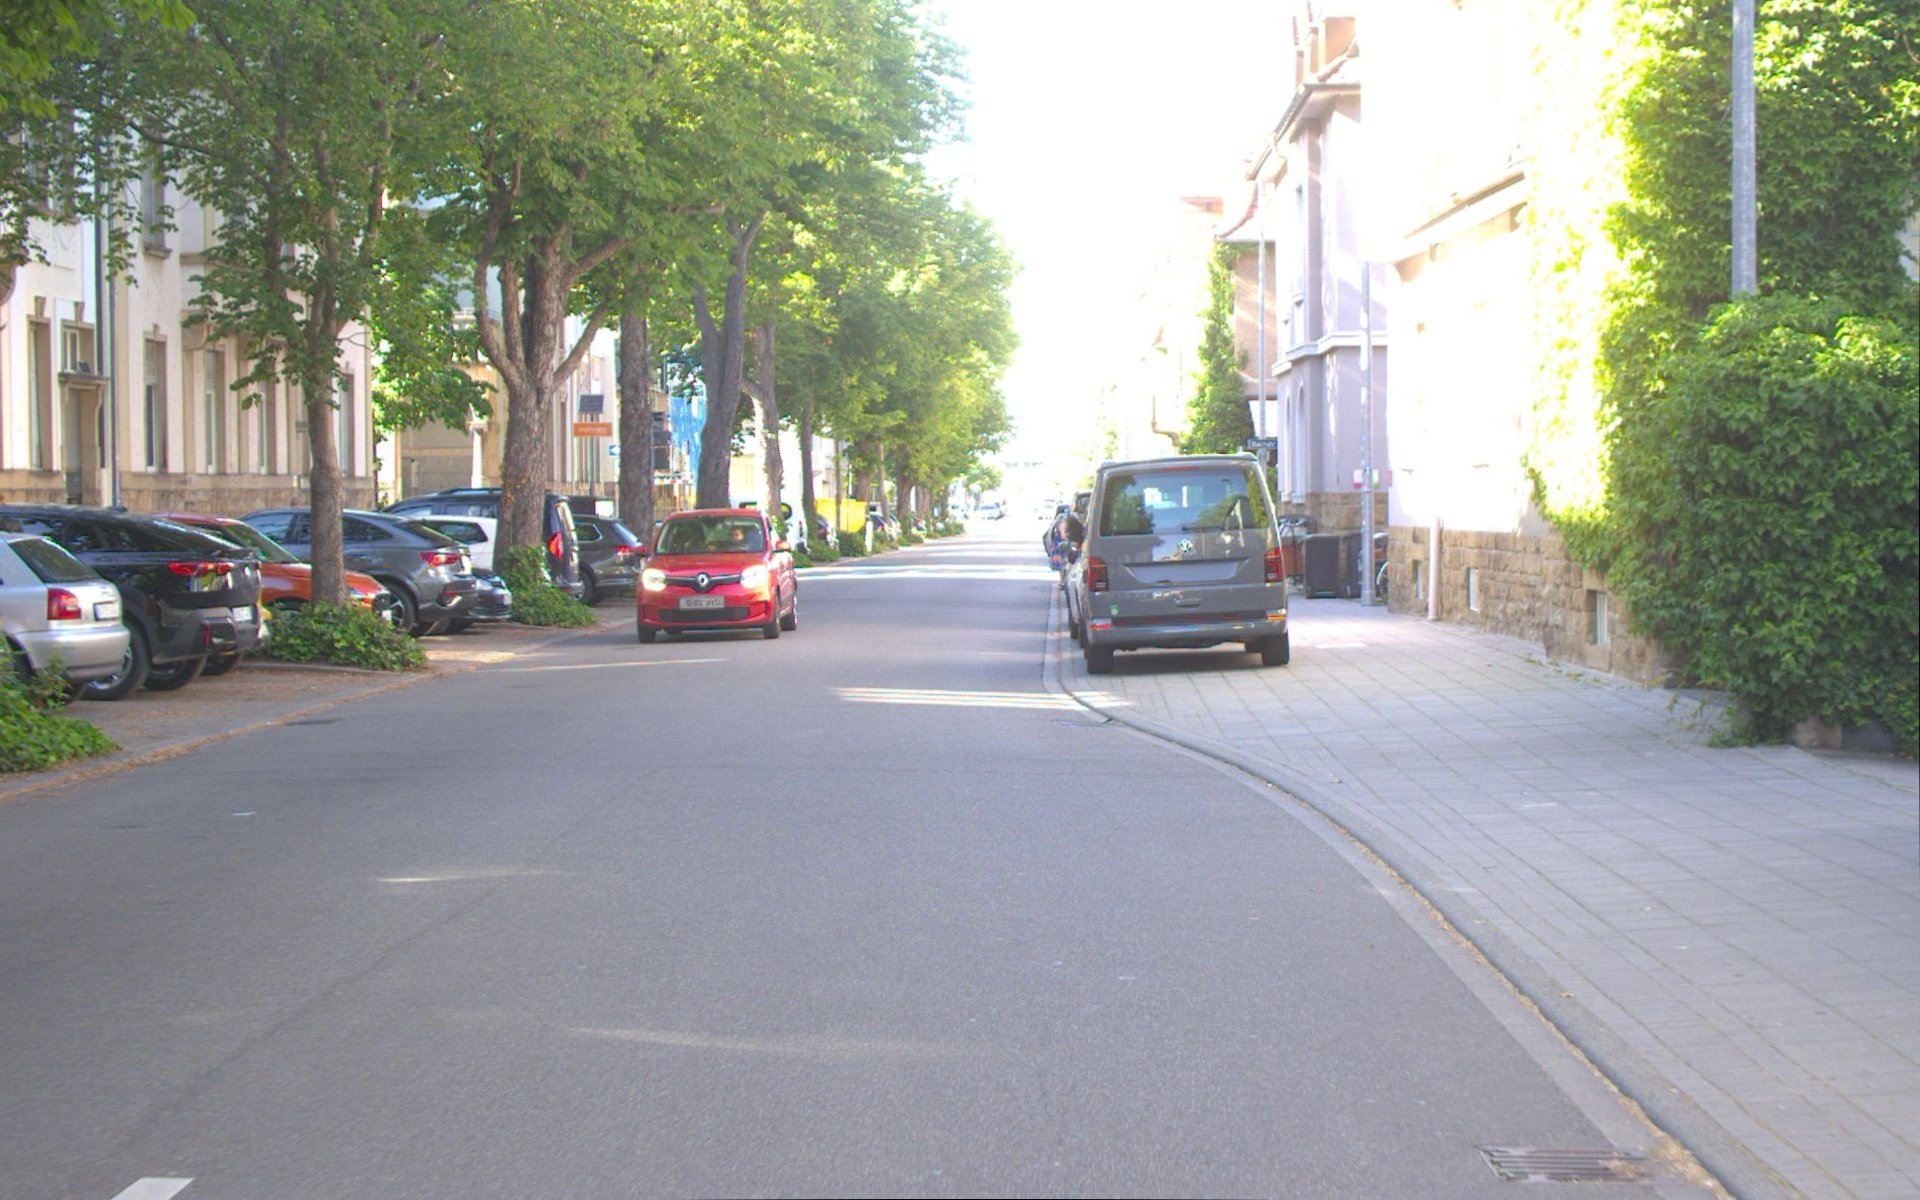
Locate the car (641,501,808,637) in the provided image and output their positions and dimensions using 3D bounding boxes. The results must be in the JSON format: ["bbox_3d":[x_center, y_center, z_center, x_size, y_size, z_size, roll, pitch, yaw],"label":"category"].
[{"bbox_3d":[-2.779,-0.403,41.200,1.641,1.503,3.702,-2,2,1],"label":"car"}]

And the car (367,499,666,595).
[{"bbox_3d":[-7.057,-0.856,55.063,4.532,1.498,1.892,0,1,0],"label":"car"}]

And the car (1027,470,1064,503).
[{"bbox_3d":[4.378,-5.786,175.478,1.771,1.625,3.866,0,2,3],"label":"car"}]

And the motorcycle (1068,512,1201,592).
[{"bbox_3d":[3.017,-0.826,59.388,2.194,1.334,0.921,0,3,-38],"label":"motorcycle"}]

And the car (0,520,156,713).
[{"bbox_3d":[-8.408,0.080,26.415,3.987,1.398,1.830,1,1,3],"label":"car"}]

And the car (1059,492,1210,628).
[{"bbox_3d":[2.261,-0.532,44.880,1.789,1.595,4.000,-3,1,2],"label":"car"}]

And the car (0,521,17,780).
[{"bbox_3d":[-7.484,0.289,19.074,3.987,1.477,1.785,0,1,3],"label":"car"}]

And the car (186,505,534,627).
[{"bbox_3d":[-7.461,-0.442,42.944,3.903,1.441,1.859,1,2,6],"label":"car"}]

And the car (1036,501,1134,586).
[{"bbox_3d":[2.442,-1.146,67.933,1.699,1.534,4.156,-3,2,0],"label":"car"}]

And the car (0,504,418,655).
[{"bbox_3d":[-7.766,-0.225,35.641,3.987,1.509,1.747,0,1,2],"label":"car"}]

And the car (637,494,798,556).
[{"bbox_3d":[-6.151,-1.903,87.370,3.986,1.459,1.798,2,1,-2],"label":"car"}]

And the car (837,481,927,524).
[{"bbox_3d":[-3.642,-4.584,161.091,4.007,1.834,2.000,2,3,4],"label":"car"}]

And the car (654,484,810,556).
[{"bbox_3d":[-5.939,-2.088,89.959,3.986,1.754,1.798,2,1,-2],"label":"car"}]

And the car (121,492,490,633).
[{"bbox_3d":[-7.682,-0.464,40.589,3.987,1.587,1.859,1,2,1],"label":"car"}]

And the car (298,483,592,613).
[{"bbox_3d":[-7.417,-0.765,49.775,3.979,1.849,1.829,0,1,0],"label":"car"}]

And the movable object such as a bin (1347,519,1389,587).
[{"bbox_3d":[6.382,-0.740,53.800,0.568,1.036,0.618,-1,2,-1],"label":"movable object such as a bin"}]

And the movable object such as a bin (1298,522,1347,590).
[{"bbox_3d":[5.674,-0.697,53.782,0.647,1.036,0.828,-1,2,-1],"label":"movable object such as a bin"}]

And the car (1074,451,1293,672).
[{"bbox_3d":[2.084,-0.423,33.221,1.865,1.909,4.782,-2,2,2],"label":"car"}]

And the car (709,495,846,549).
[{"bbox_3d":[-5.509,-2.346,103.630,3.986,1.546,1.838,-1,2,-6],"label":"car"}]

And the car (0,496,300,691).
[{"bbox_3d":[-7.760,-0.089,28.937,3.987,1.561,1.863,1,1,3],"label":"car"}]

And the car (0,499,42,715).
[{"bbox_3d":[-8.686,0.090,24.076,3.987,1.502,1.722,-1,1,3],"label":"car"}]

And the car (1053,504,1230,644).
[{"bbox_3d":[2.017,-0.340,39.245,1.678,1.452,4.439,-1,2,-1],"label":"car"}]
